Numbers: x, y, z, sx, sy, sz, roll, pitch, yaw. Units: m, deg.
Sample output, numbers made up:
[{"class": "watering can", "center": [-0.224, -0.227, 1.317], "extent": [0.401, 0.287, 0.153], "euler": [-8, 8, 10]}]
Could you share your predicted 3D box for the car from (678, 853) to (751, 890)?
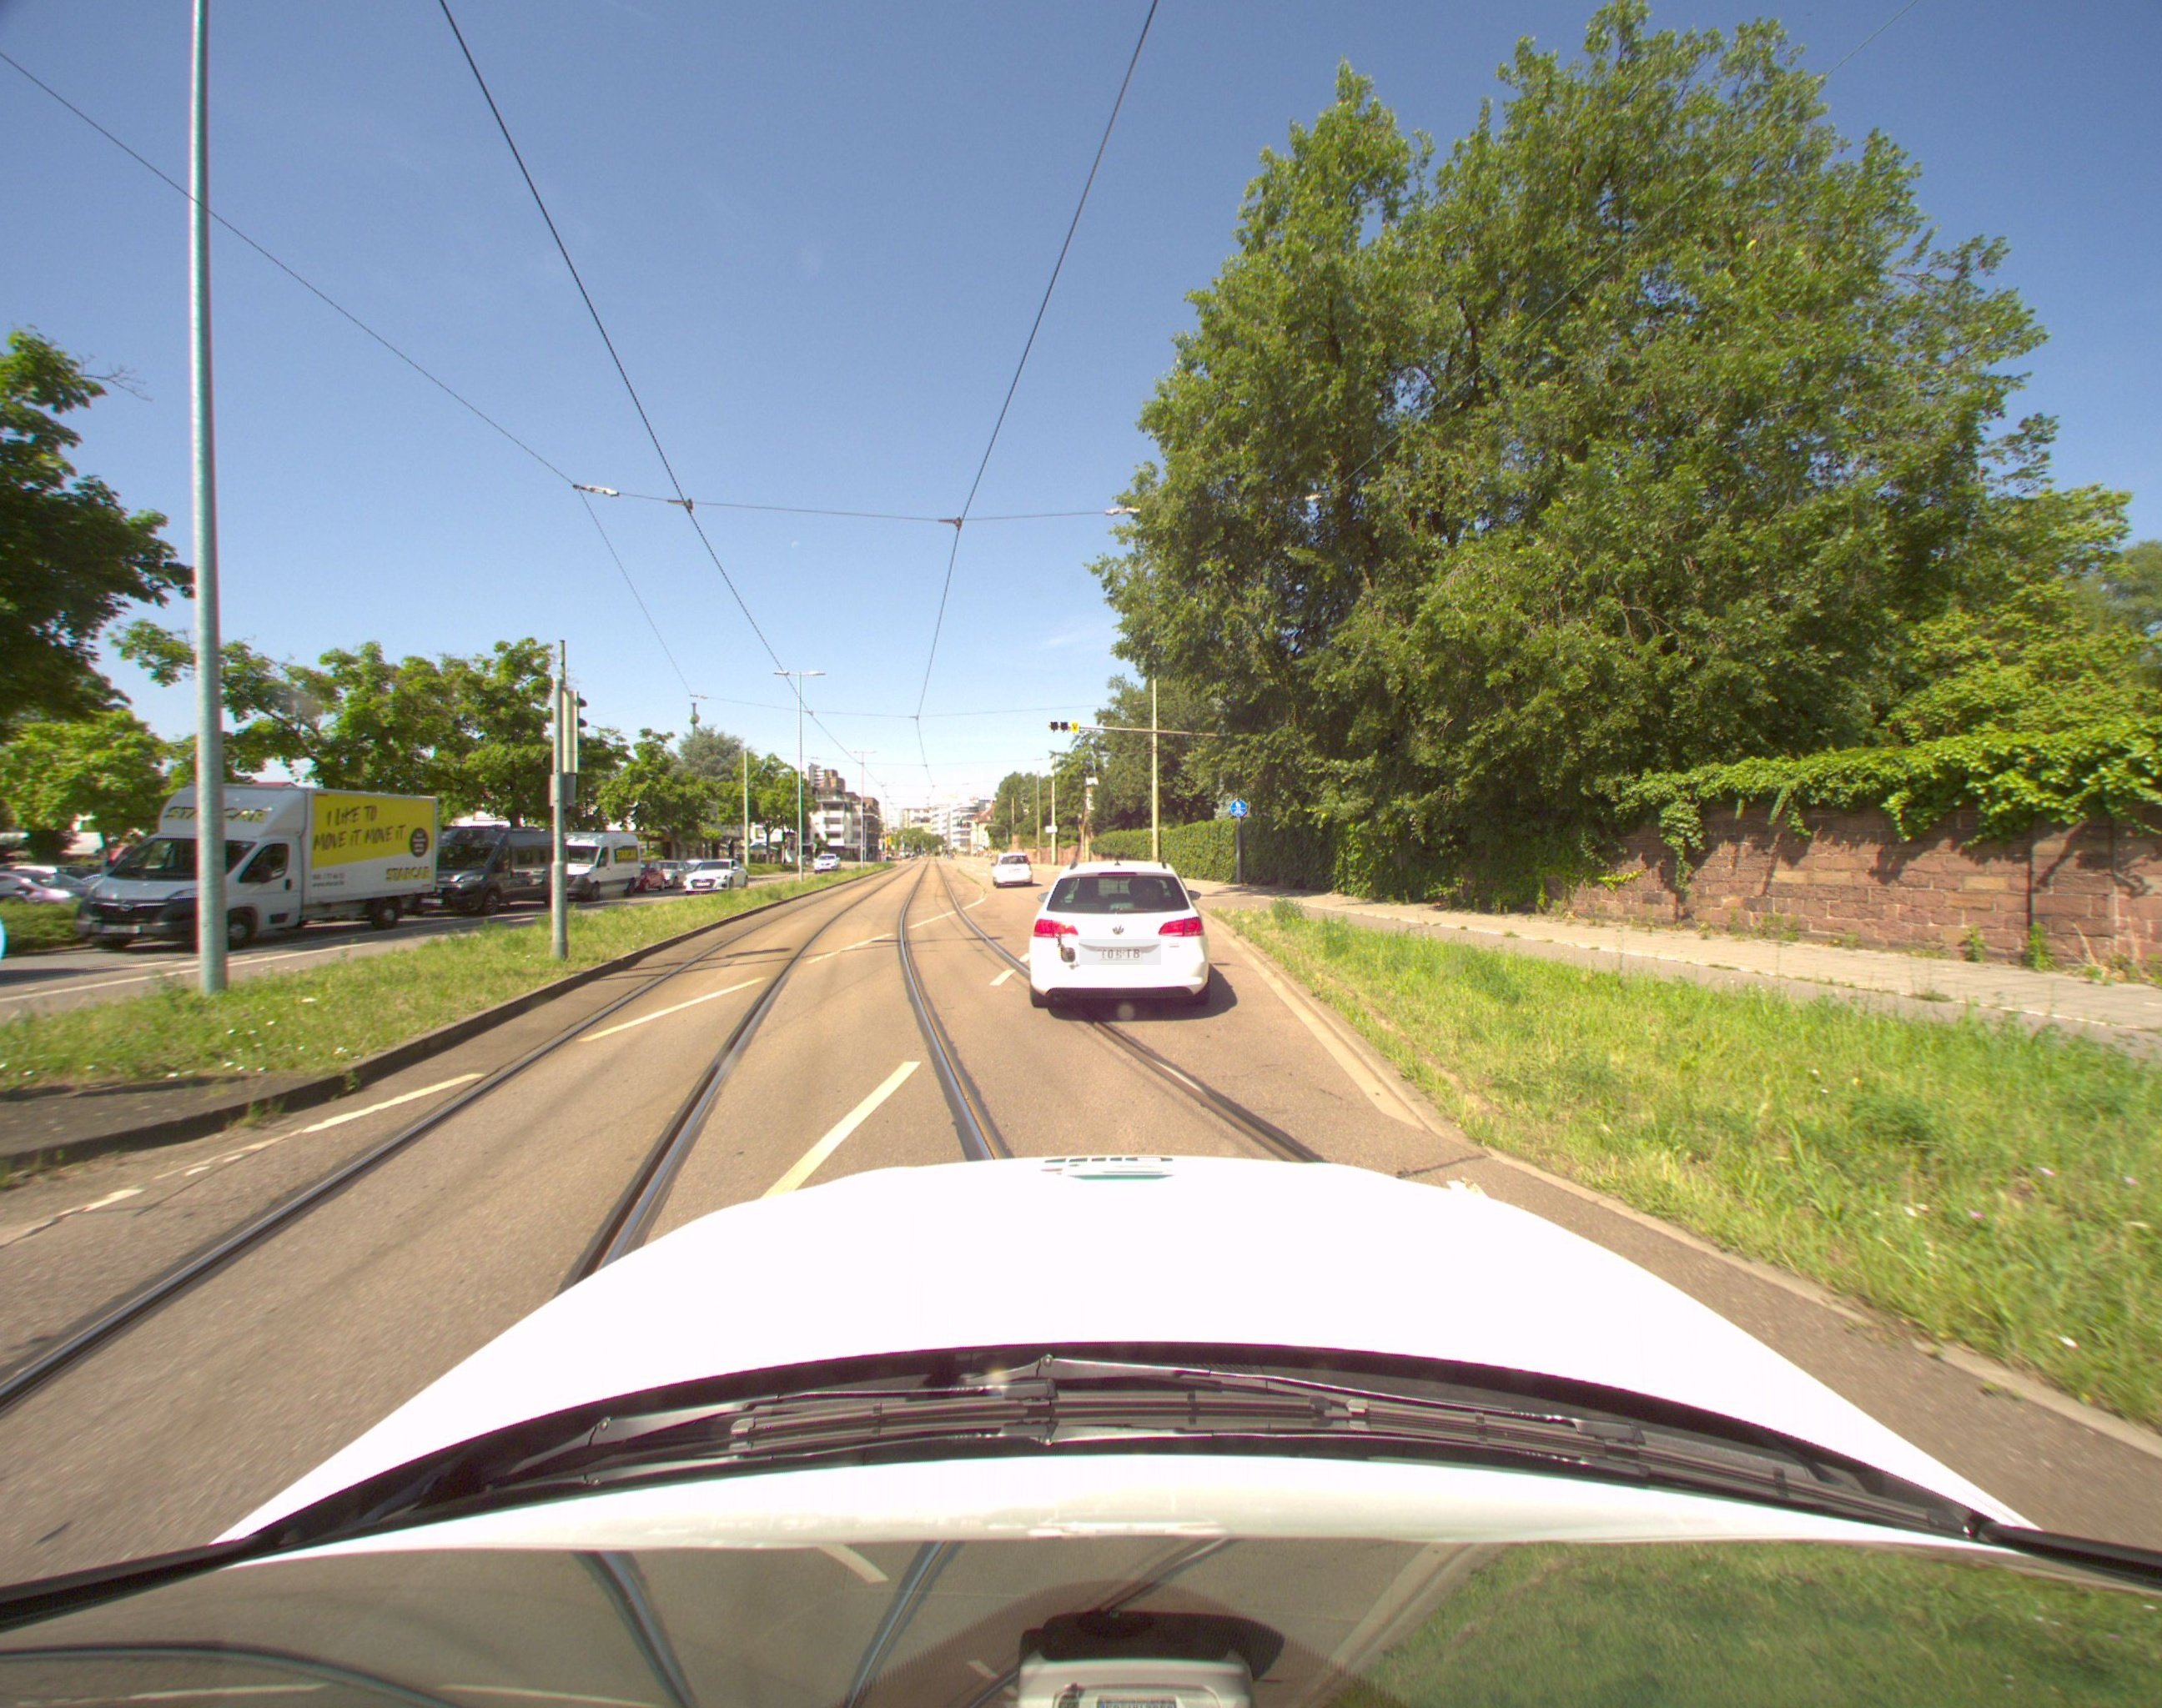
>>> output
[{"class": "car", "center": [-15.493, 0.687, 34.652], "extent": [1.791, 1.422, 4.321], "euler": [-1, 1, -10]}]

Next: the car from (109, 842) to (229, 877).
[{"class": "car", "center": [-60.521, 0.341, 54.146], "extent": [4.935, 2.174, 2.091], "euler": [-1, 0, -14]}]

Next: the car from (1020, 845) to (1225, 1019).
[{"class": "car", "center": [0.424, 0.663, 9.027], "extent": [1.772, 1.490, 3.848], "euler": [-1, 1, 2]}]

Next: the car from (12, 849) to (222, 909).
[{"class": "car", "center": [-29.741, 0.726, 25.250], "extent": [3.988, 1.694, 1.657], "euler": [-1, 0, -11]}]

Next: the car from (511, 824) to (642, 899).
[{"class": "car", "center": [-19.327, 0.239, 31.628], "extent": [2.196, 2.630, 5.959], "euler": [1, 0, -10]}]

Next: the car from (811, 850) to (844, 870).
[{"class": "car", "center": [-21.398, 0.501, 68.853], "extent": [2.044, 1.597, 4.643], "euler": [-1, 1, -10]}]

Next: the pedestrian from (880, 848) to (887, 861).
[{"class": "pedestrian", "center": [-27.344, 0.020, 112.715], "extent": [0.828, 1.738, 0.926], "euler": [-1, 0, -18]}]

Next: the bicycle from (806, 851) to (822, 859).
[{"class": "bicycle", "center": [-36.004, 0.143, 109.825], "extent": [0.546, 0.921, 2.191], "euler": [-1, 1, 33]}]

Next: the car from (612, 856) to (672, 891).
[{"class": "car", "center": [-20.350, 0.869, 37.876], "extent": [1.292, 1.490, 3.664], "euler": [-1, 0, -10]}]

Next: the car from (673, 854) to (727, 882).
[{"class": "car", "center": [-22.124, 0.793, 47.461], "extent": [1.603, 1.490, 4.604], "euler": [1, 0, -9]}]

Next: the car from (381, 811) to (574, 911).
[{"class": "car", "center": [-18.138, 0.173, 24.985], "extent": [2.196, 2.668, 6.059], "euler": [1, 0, -10]}]

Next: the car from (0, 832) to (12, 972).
[{"class": "car", "center": [-15.740, 0.670, 8.703], "extent": [2.195, 1.940, 5.169], "euler": [1, 0, -9]}]

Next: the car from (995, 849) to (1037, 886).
[{"class": "car", "center": [-2.977, 0.591, 37.972], "extent": [1.726, 1.596, 4.008], "euler": [-1, 1, -2]}]

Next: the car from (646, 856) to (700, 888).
[{"class": "car", "center": [-21.153, 0.877, 42.334], "extent": [1.292, 1.490, 4.336], "euler": [-1, 1, -10]}]

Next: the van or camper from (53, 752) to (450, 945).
[{"class": "van or camper", "center": [-16.680, -0.115, 17.216], "extent": [2.195, 3.241, 6.751], "euler": [1, 0, -9]}]
